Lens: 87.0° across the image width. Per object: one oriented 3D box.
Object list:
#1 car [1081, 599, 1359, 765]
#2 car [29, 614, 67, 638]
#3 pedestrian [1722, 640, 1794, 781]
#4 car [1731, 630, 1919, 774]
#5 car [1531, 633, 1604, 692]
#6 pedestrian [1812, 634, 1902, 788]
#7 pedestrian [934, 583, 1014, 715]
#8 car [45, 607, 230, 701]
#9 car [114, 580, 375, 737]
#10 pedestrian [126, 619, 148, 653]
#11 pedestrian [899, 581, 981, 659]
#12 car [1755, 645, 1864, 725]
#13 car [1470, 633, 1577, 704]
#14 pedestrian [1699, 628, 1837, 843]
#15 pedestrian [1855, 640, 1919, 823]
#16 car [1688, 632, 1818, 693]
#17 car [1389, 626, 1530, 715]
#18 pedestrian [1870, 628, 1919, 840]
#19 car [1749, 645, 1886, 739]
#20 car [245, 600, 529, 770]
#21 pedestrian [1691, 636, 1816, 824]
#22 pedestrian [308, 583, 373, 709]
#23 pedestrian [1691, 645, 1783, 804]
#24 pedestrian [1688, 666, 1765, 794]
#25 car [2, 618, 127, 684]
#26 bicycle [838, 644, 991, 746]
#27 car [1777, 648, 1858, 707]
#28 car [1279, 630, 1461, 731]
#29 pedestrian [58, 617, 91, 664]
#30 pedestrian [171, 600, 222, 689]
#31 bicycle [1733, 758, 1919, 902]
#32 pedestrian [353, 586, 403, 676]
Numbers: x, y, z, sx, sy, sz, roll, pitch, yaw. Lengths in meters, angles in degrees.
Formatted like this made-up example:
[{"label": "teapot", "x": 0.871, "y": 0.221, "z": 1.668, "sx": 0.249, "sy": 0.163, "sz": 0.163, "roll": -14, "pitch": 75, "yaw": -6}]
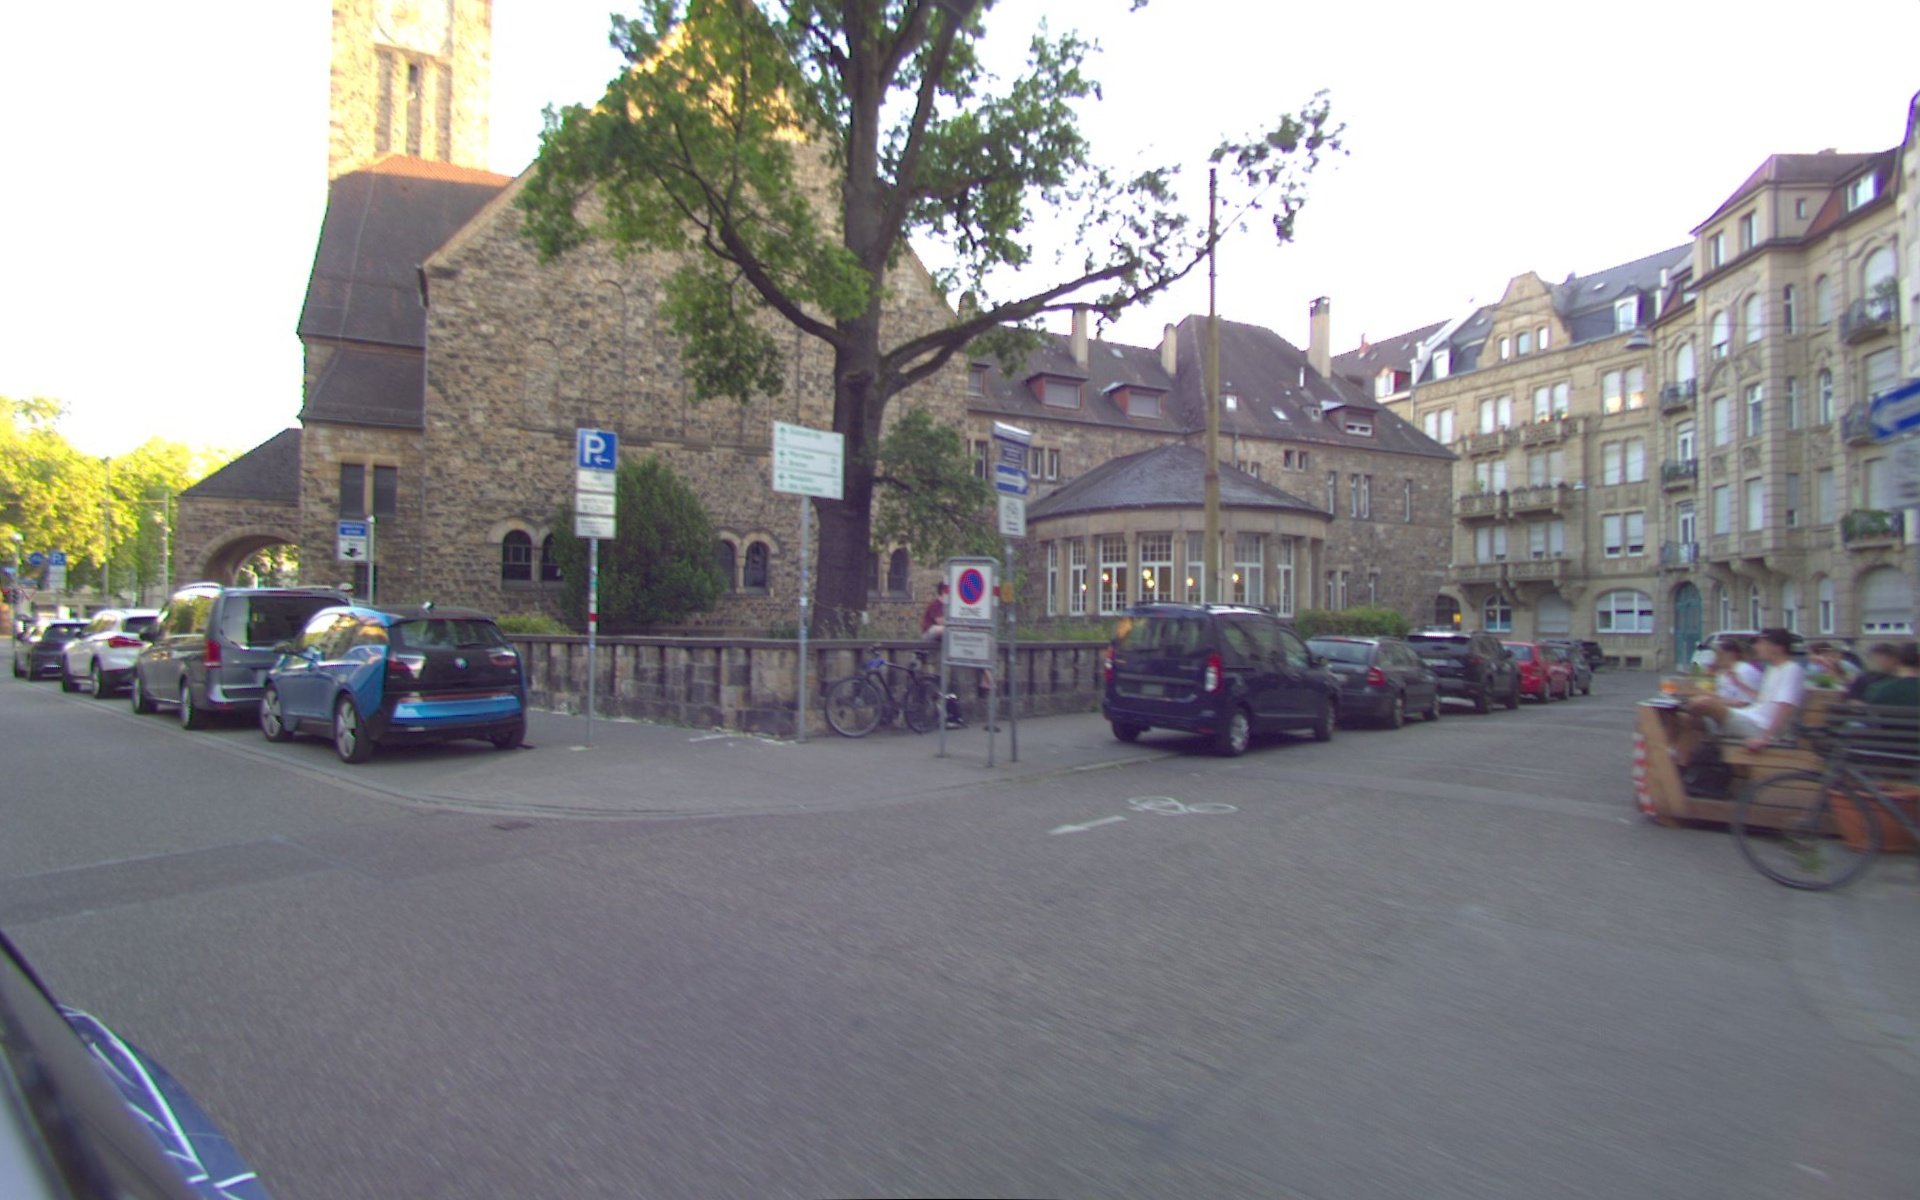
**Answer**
[{"label": "car", "x": 3.556, "y": 0.996, "z": 13.431, "sx": 1.891, "sy": 1.858, "sz": 3.942, "roll": -1, "pitch": -3, "yaw": 44}, {"label": "car", "x": -77.803, "y": 2.217, "z": 86.367, "sx": 1.837, "sy": 2.029, "sz": 3.820, "roll": 2, "pitch": -2, "yaw": -35}, {"label": "pedestrian", "x": 8.658, "y": 1.170, "z": 10.979, "sx": 0.573, "sy": 1.458, "sz": 0.636, "roll": -1, "pitch": -3, "yaw": 40}, {"label": "car", "x": 12.028, "y": 1.295, "z": 14.153, "sx": 1.739, "sy": 1.630, "sz": 4.094, "roll": 2, "pitch": -1, "yaw": 40}, {"label": "car", "x": 17.323, "y": 1.746, "z": 28.799, "sx": 1.296, "sy": 1.583, "sz": 3.204, "roll": -1, "pitch": -2, "yaw": 40}, {"label": "pedestrian", "x": 9.230, "y": 1.117, "z": 10.436, "sx": 0.644, "sy": 1.512, "sz": 0.566, "roll": -1, "pitch": -3, "yaw": 39}, {"label": "pedestrian", "x": 0.197, "y": 0.666, "z": 13.925, "sx": 0.836, "sy": 1.734, "sz": 0.699, "roll": -1, "pitch": -3, "yaw": 39}, {"label": "car", "x": -15.805, "y": 0.974, "z": 19.381, "sx": 4.464, "sy": 1.604, "sz": 1.852, "roll": -1, "pitch": -2, "yaw": 39}, {"label": "car", "x": -10.531, "y": 0.773, "z": 14.709, "sx": 5.288, "sy": 1.881, "sz": 1.972, "roll": -1, "pitch": -2, "yaw": 42}, {"label": "pedestrian", "x": -35.981, "y": 1.565, "z": 44.259, "sx": 0.541, "sy": 1.464, "sz": 0.559, "roll": 1, "pitch": -2, "yaw": -15}, {"label": "pedestrian", "x": -0.266, "y": 0.275, "z": 13.396, "sx": 0.836, "sy": 0.988, "sz": 0.699, "roll": -1, "pitch": -3, "yaw": 39}, {"label": "car", "x": 19.282, "y": 1.851, "z": 22.986, "sx": 1.739, "sy": 1.559, "sz": 4.094, "roll": 2, "pitch": -1, "yaw": 40}, {"label": "car", "x": 14.053, "y": 1.640, "z": 25.141, "sx": 1.632, "sy": 1.583, "sz": 3.984, "roll": -1, "pitch": -2, "yaw": 40}, {"label": "pedestrian", "x": 6.263, "y": 1.000, "z": 7.868, "sx": 0.783, "sy": 1.552, "sz": 0.695, "roll": -1, "pitch": -3, "yaw": 39}, {"label": "pedestrian", "x": 7.842, "y": 1.066, "z": 8.356, "sx": 0.644, "sy": 1.454, "sz": 0.566, "roll": -1, "pitch": -3, "yaw": 41}, {"label": "car", "x": 27.984, "y": 2.151, "z": 35.935, "sx": 1.793, "sy": 1.874, "sz": 5.140, "roll": 2, "pitch": -1, "yaw": 16}, {"label": "car", "x": 10.469, "y": 1.390, "z": 21.073, "sx": 1.719, "sy": 1.665, "sz": 4.157, "roll": -1, "pitch": -2, "yaw": 40}, {"label": "pedestrian", "x": 6.974, "y": 0.943, "z": 7.227, "sx": 0.644, "sy": 1.480, "sz": 0.566, "roll": -1, "pitch": -3, "yaw": 39}, {"label": "car", "x": 15.676, "y": 1.593, "z": 18.551, "sx": 1.739, "sy": 1.440, "sz": 4.094, "roll": 2, "pitch": -1, "yaw": 40}, {"label": "car", "x": -6.510, "y": 0.836, "z": 11.319, "sx": 4.004, "sy": 1.567, "sz": 1.622, "roll": -1, "pitch": -2, "yaw": 43}, {"label": "pedestrian", "x": 6.674, "y": 1.048, "z": 8.526, "sx": 0.783, "sy": 1.480, "sz": 0.695, "roll": -1, "pitch": -3, "yaw": 39}, {"label": "pedestrian", "x": -9.727, "y": 0.712, "z": 15.878, "sx": 0.802, "sy": 1.920, "sz": 0.576, "roll": -1, "pitch": -3, "yaw": 37}, {"label": "pedestrian", "x": 7.342, "y": 1.138, "z": 9.565, "sx": 0.644, "sy": 1.422, "sz": 0.566, "roll": -1, "pitch": -3, "yaw": 41}, {"label": "pedestrian", "x": 7.754, "y": 1.286, "z": 10.237, "sx": 0.573, "sy": 1.217, "sz": 0.636, "roll": -1, "pitch": -3, "yaw": 40}, {"label": "car", "x": -21.801, "y": 1.193, "z": 24.583, "sx": 4.314, "sy": 1.446, "sz": 1.764, "roll": -1, "pitch": -3, "yaw": 42}, {"label": "bicycle", "x": -0.508, "y": 1.113, "z": 12.400, "sx": 0.555, "sy": 1.142, "sz": 2.117, "roll": -1, "pitch": -3, "yaw": 41}, {"label": "car", "x": 25.696, "y": 2.276, "z": 30.347, "sx": 1.739, "sy": 1.559, "sz": 3.741, "roll": 2, "pitch": -1, "yaw": 40}, {"label": "car", "x": 7.110, "y": 1.286, "z": 17.333, "sx": 1.719, "sy": 1.511, "sz": 4.157, "roll": -1, "pitch": -2, "yaw": 40}, {"label": "pedestrian", "x": -32.890, "y": 1.500, "z": 37.592, "sx": 0.689, "sy": 1.738, "sz": 0.709, "roll": -1, "pitch": -2, "yaw": 31}, {"label": "pedestrian", "x": -16.605, "y": 0.954, "z": 22.010, "sx": 0.890, "sy": 1.894, "sz": 0.640, "roll": -1, "pitch": -2, "yaw": 37}, {"label": "bicycle", "x": 5.457, "y": 1.301, "z": 5.652, "sx": 1.777, "sy": 0.701, "sz": 0.419, "roll": -3, "pitch": -4, "yaw": 38}, {"label": "pedestrian", "x": -9.489, "y": 0.499, "z": 16.504, "sx": 0.659, "sy": 1.416, "sz": 0.526, "roll": -1, "pitch": -1, "yaw": 41}]
